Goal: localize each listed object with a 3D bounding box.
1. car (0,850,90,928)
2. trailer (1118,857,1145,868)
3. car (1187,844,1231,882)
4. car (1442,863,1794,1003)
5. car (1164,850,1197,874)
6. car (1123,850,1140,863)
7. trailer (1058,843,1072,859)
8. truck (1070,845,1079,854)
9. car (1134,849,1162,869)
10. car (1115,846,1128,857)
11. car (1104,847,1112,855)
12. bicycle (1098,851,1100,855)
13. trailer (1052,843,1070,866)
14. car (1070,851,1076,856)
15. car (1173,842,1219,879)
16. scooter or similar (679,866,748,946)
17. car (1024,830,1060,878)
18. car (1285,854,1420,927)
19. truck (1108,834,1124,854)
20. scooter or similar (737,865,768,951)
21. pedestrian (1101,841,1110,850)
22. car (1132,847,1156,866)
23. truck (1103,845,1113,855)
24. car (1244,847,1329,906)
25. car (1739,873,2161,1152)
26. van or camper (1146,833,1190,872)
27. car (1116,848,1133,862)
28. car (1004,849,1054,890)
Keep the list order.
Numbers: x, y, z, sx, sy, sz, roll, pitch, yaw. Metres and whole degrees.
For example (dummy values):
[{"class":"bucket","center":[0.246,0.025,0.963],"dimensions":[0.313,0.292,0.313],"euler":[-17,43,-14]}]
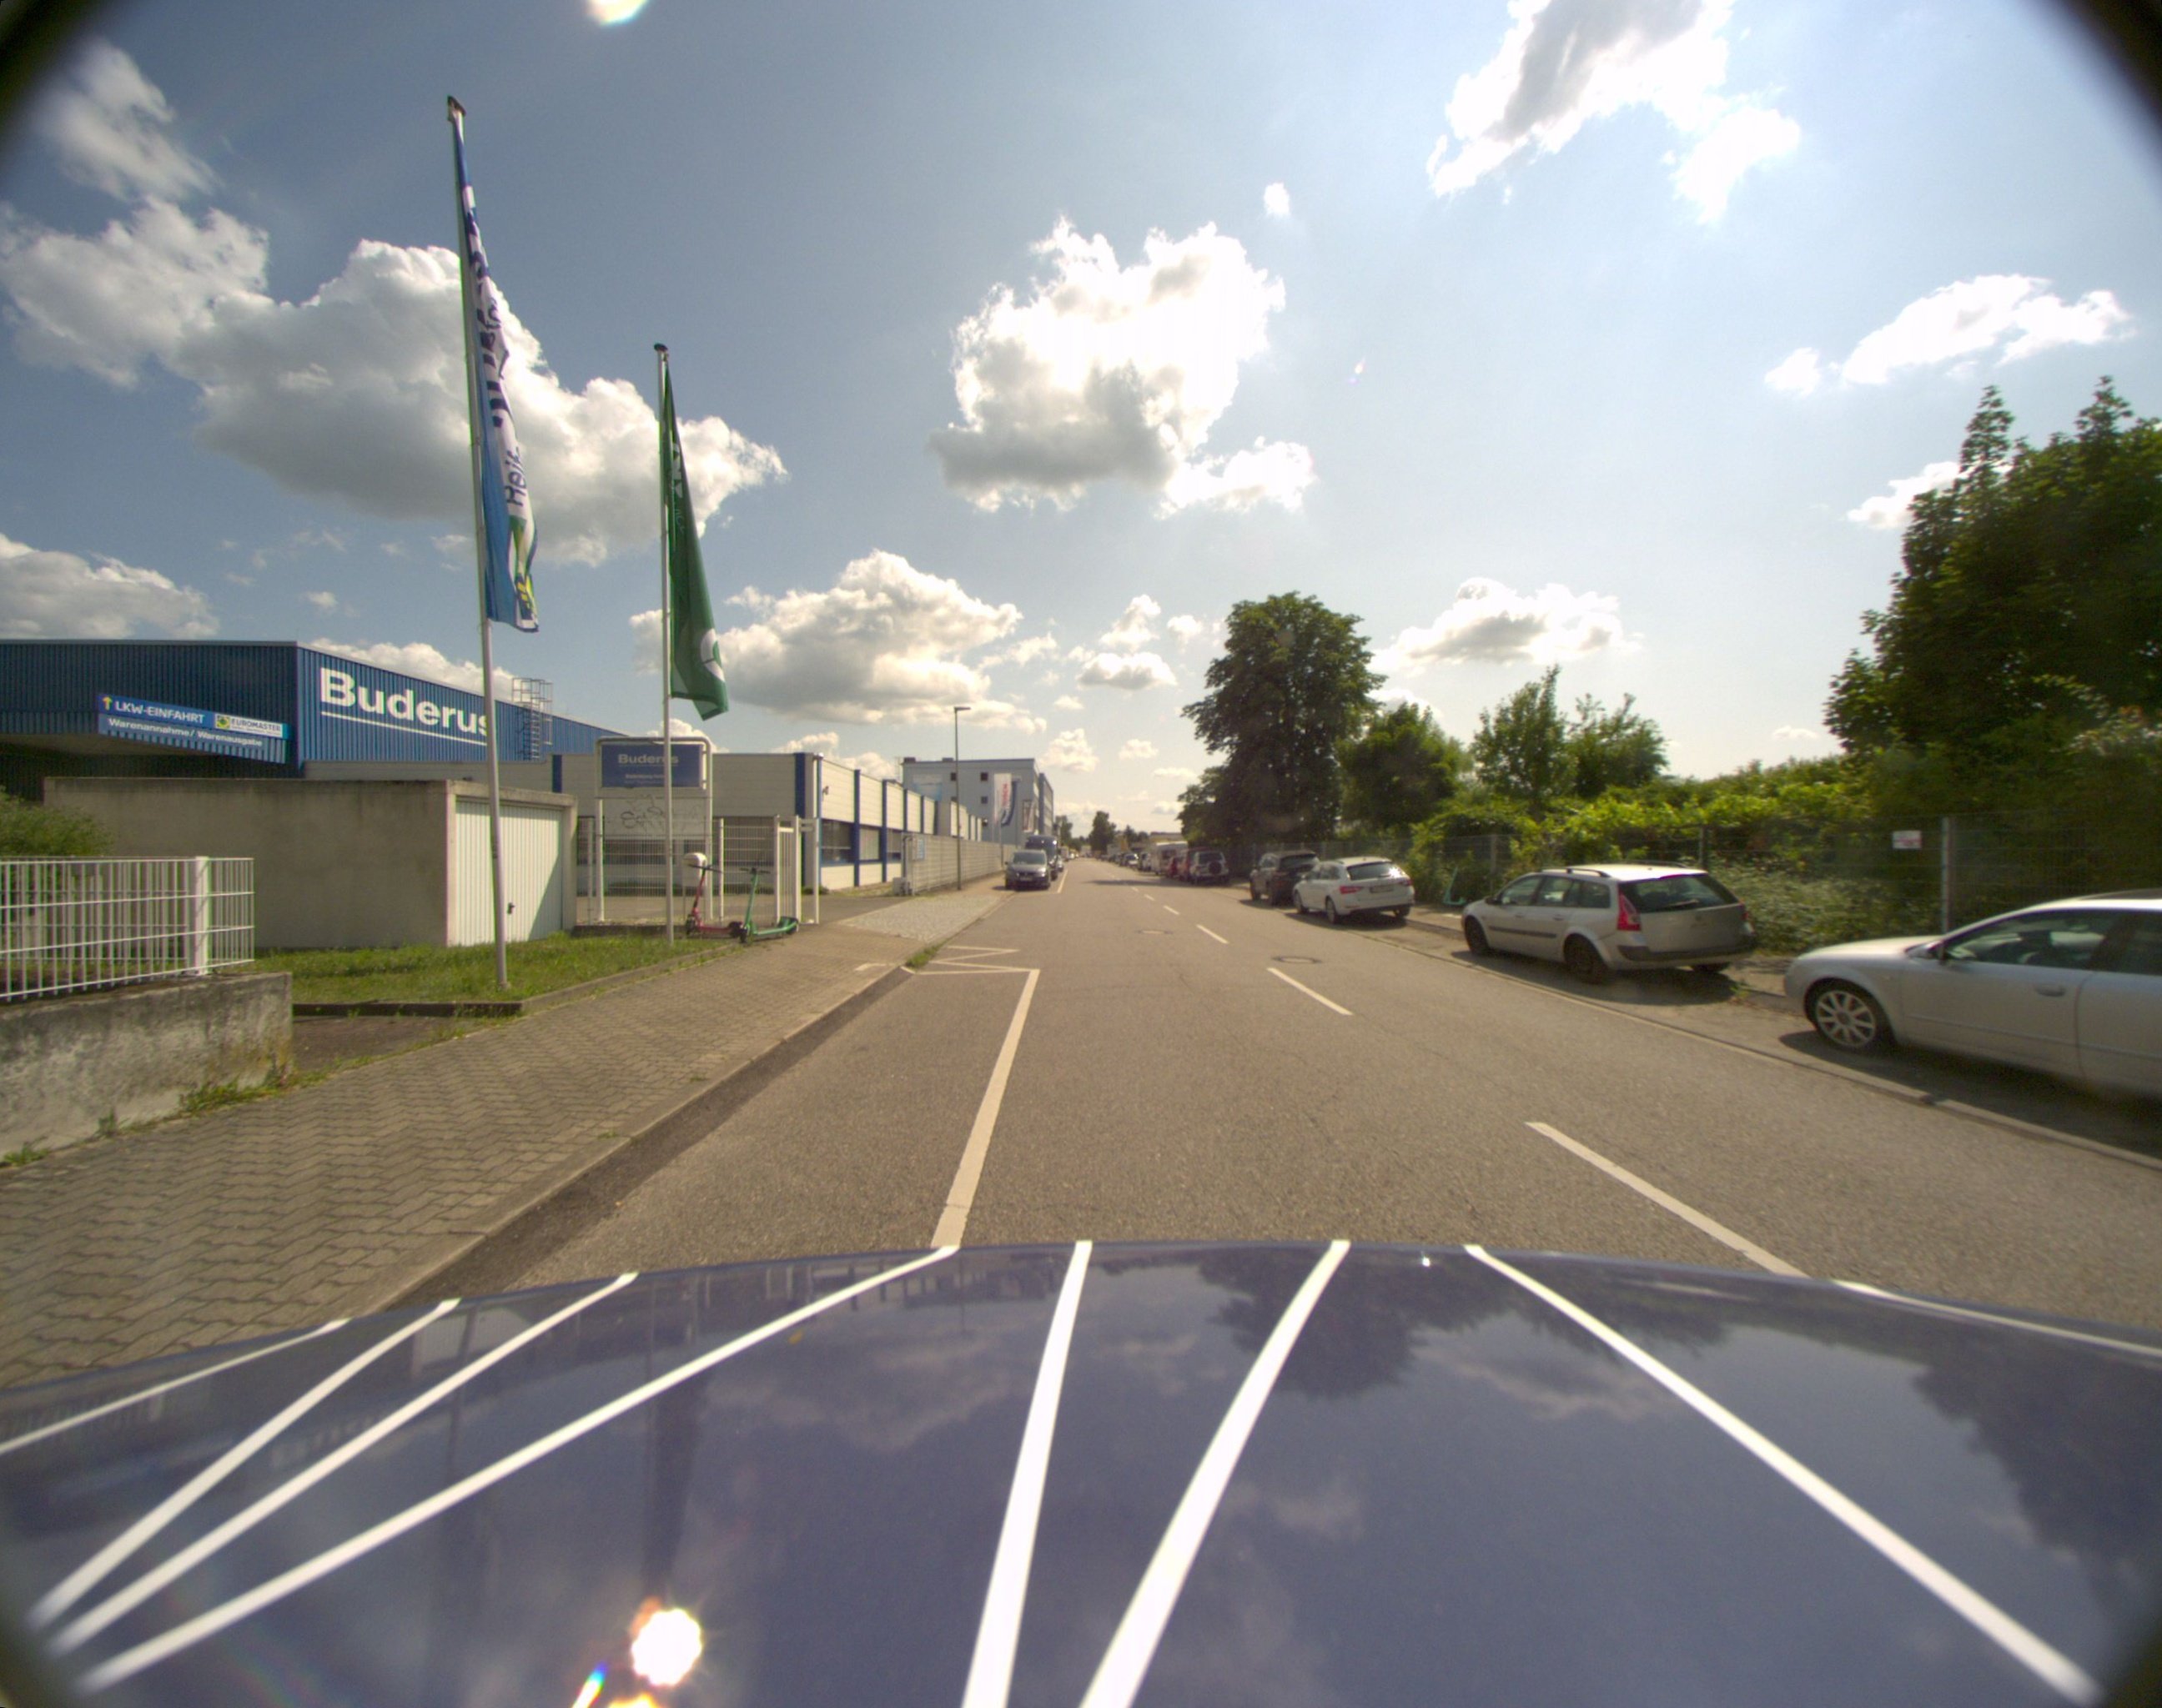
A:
[{"class":"car","center":[-21.347,0.669,13.047],"dimensions":[1.999,1.469,5.094],"euler":[0,0,-1]},{"class":"trailer","center":[5.508,0.894,83.512],"dimensions":[2.277,0.878,7.130],"euler":[-4,1,-1]},{"class":"car","center":[6.700,0.448,40.030],"dimensions":[1.704,1.791,3.826],"euler":[-3,0,2]},{"class":"car","center":[7.289,0.942,11.079],"dimensions":[1.799,1.518,4.658],"euler":[0,0,0]},{"class":"car","center":[6.783,0.505,52.392],"dimensions":[1.629,1.523,4.267],"euler":[-3,1,0]},{"class":"car","center":[6.105,0.253,92.101],"dimensions":[1.581,1.504,4.200],"euler":[-1,1,-2]},{"class":"trailer","center":[-2.623,-0.533,125.219],"dimensions":[1.873,2.538,5.072],"euler":[0,0,3]},{"class":"truck","center":[-2.059,-1.459,242.929],"dimensions":[2.402,2.787,6.375],"euler":[1,0,1]},{"class":"car","center":[5.940,0.413,67.817],"dimensions":[1.688,1.682,4.443],"euler":[-4,1,-4]},{"class":"car","center":[5.878,-0.357,110.584],"dimensions":[1.619,1.475,3.709],"euler":[-2,0,0]},{"class":"car","center":[8.826,-1.001,249.775],"dimensions":[1.997,2.289,4.003],"euler":[-1,0,10]},{"class":"bicycle","center":[4.091,-0.245,171.940],"dimensions":[0.589,0.737,2.125],"euler":[0,0,2]},{"class":"trailer","center":[-1.851,0.050,69.616],"dimensions":[1.605,2.025,2.740],"euler":[-1,1,-1]},{"class":"car","center":[-2.311,-0.201,208.691],"dimensions":[1.657,1.324,3.999],"euler":[0,0,-1]},{"class":"car","center":[6.962,0.340,46.440],"dimensions":[1.903,1.943,4.957],"euler":[-5,1,-1]},{"class":"scooter or similar","center":[-6.002,0.834,12.394],"dimensions":[1.147,1.238,0.259],"euler":[1,1,17]},{"class":"car","center":[-2.377,-0.028,47.216],"dimensions":[1.942,2.732,6.153],"euler":[1,0,-1]},{"class":"car","center":[6.677,0.804,19.275],"dimensions":[1.704,1.586,4.787],"euler":[0,0,0]},{"class":"truck","center":[6.287,-1.698,137.726],"dimensions":[2.256,3.342,6.906],"euler":[-4,0,-1]},{"class":"scooter or similar","center":[-5.078,0.825,11.757],"dimensions":[0.334,1.304,0.366],"euler":[0,1,-1]},{"class":"pedestrian","center":[5.900,-2.041,181.765],"dimensions":[1.998,2.002,4.000],"euler":[-1,1,1]},{"class":"car","center":[5.986,0.223,73.031],"dimensions":[1.832,1.783,4.734],"euler":[0,1,-1]},{"class":"truck","center":[6.484,-0.940,182.574],"dimensions":[2.133,2.226,7.350],"euler":[-2,0,3]},{"class":"car","center":[6.725,0.673,25.307],"dimensions":[1.614,1.735,4.636],"euler":[-2,0,1]},{"class":"car","center":[7.269,0.990,5.003],"dimensions":[1.728,1.469,4.630],"euler":[-4,1,-1]},{"class":"van or camper","center":[6.759,-0.145,59.659],"dimensions":[2.269,2.787,6.831],"euler":[-3,1,-2]},{"class":"car","center":[5.515,0.125,97.402],"dimensions":[1.806,1.739,4.712],"euler":[1,0,-1]},{"class":"car","center":[-2.173,0.605,33.049],"dimensions":[1.829,1.655,4.555],"euler":[1,0,0]}]
